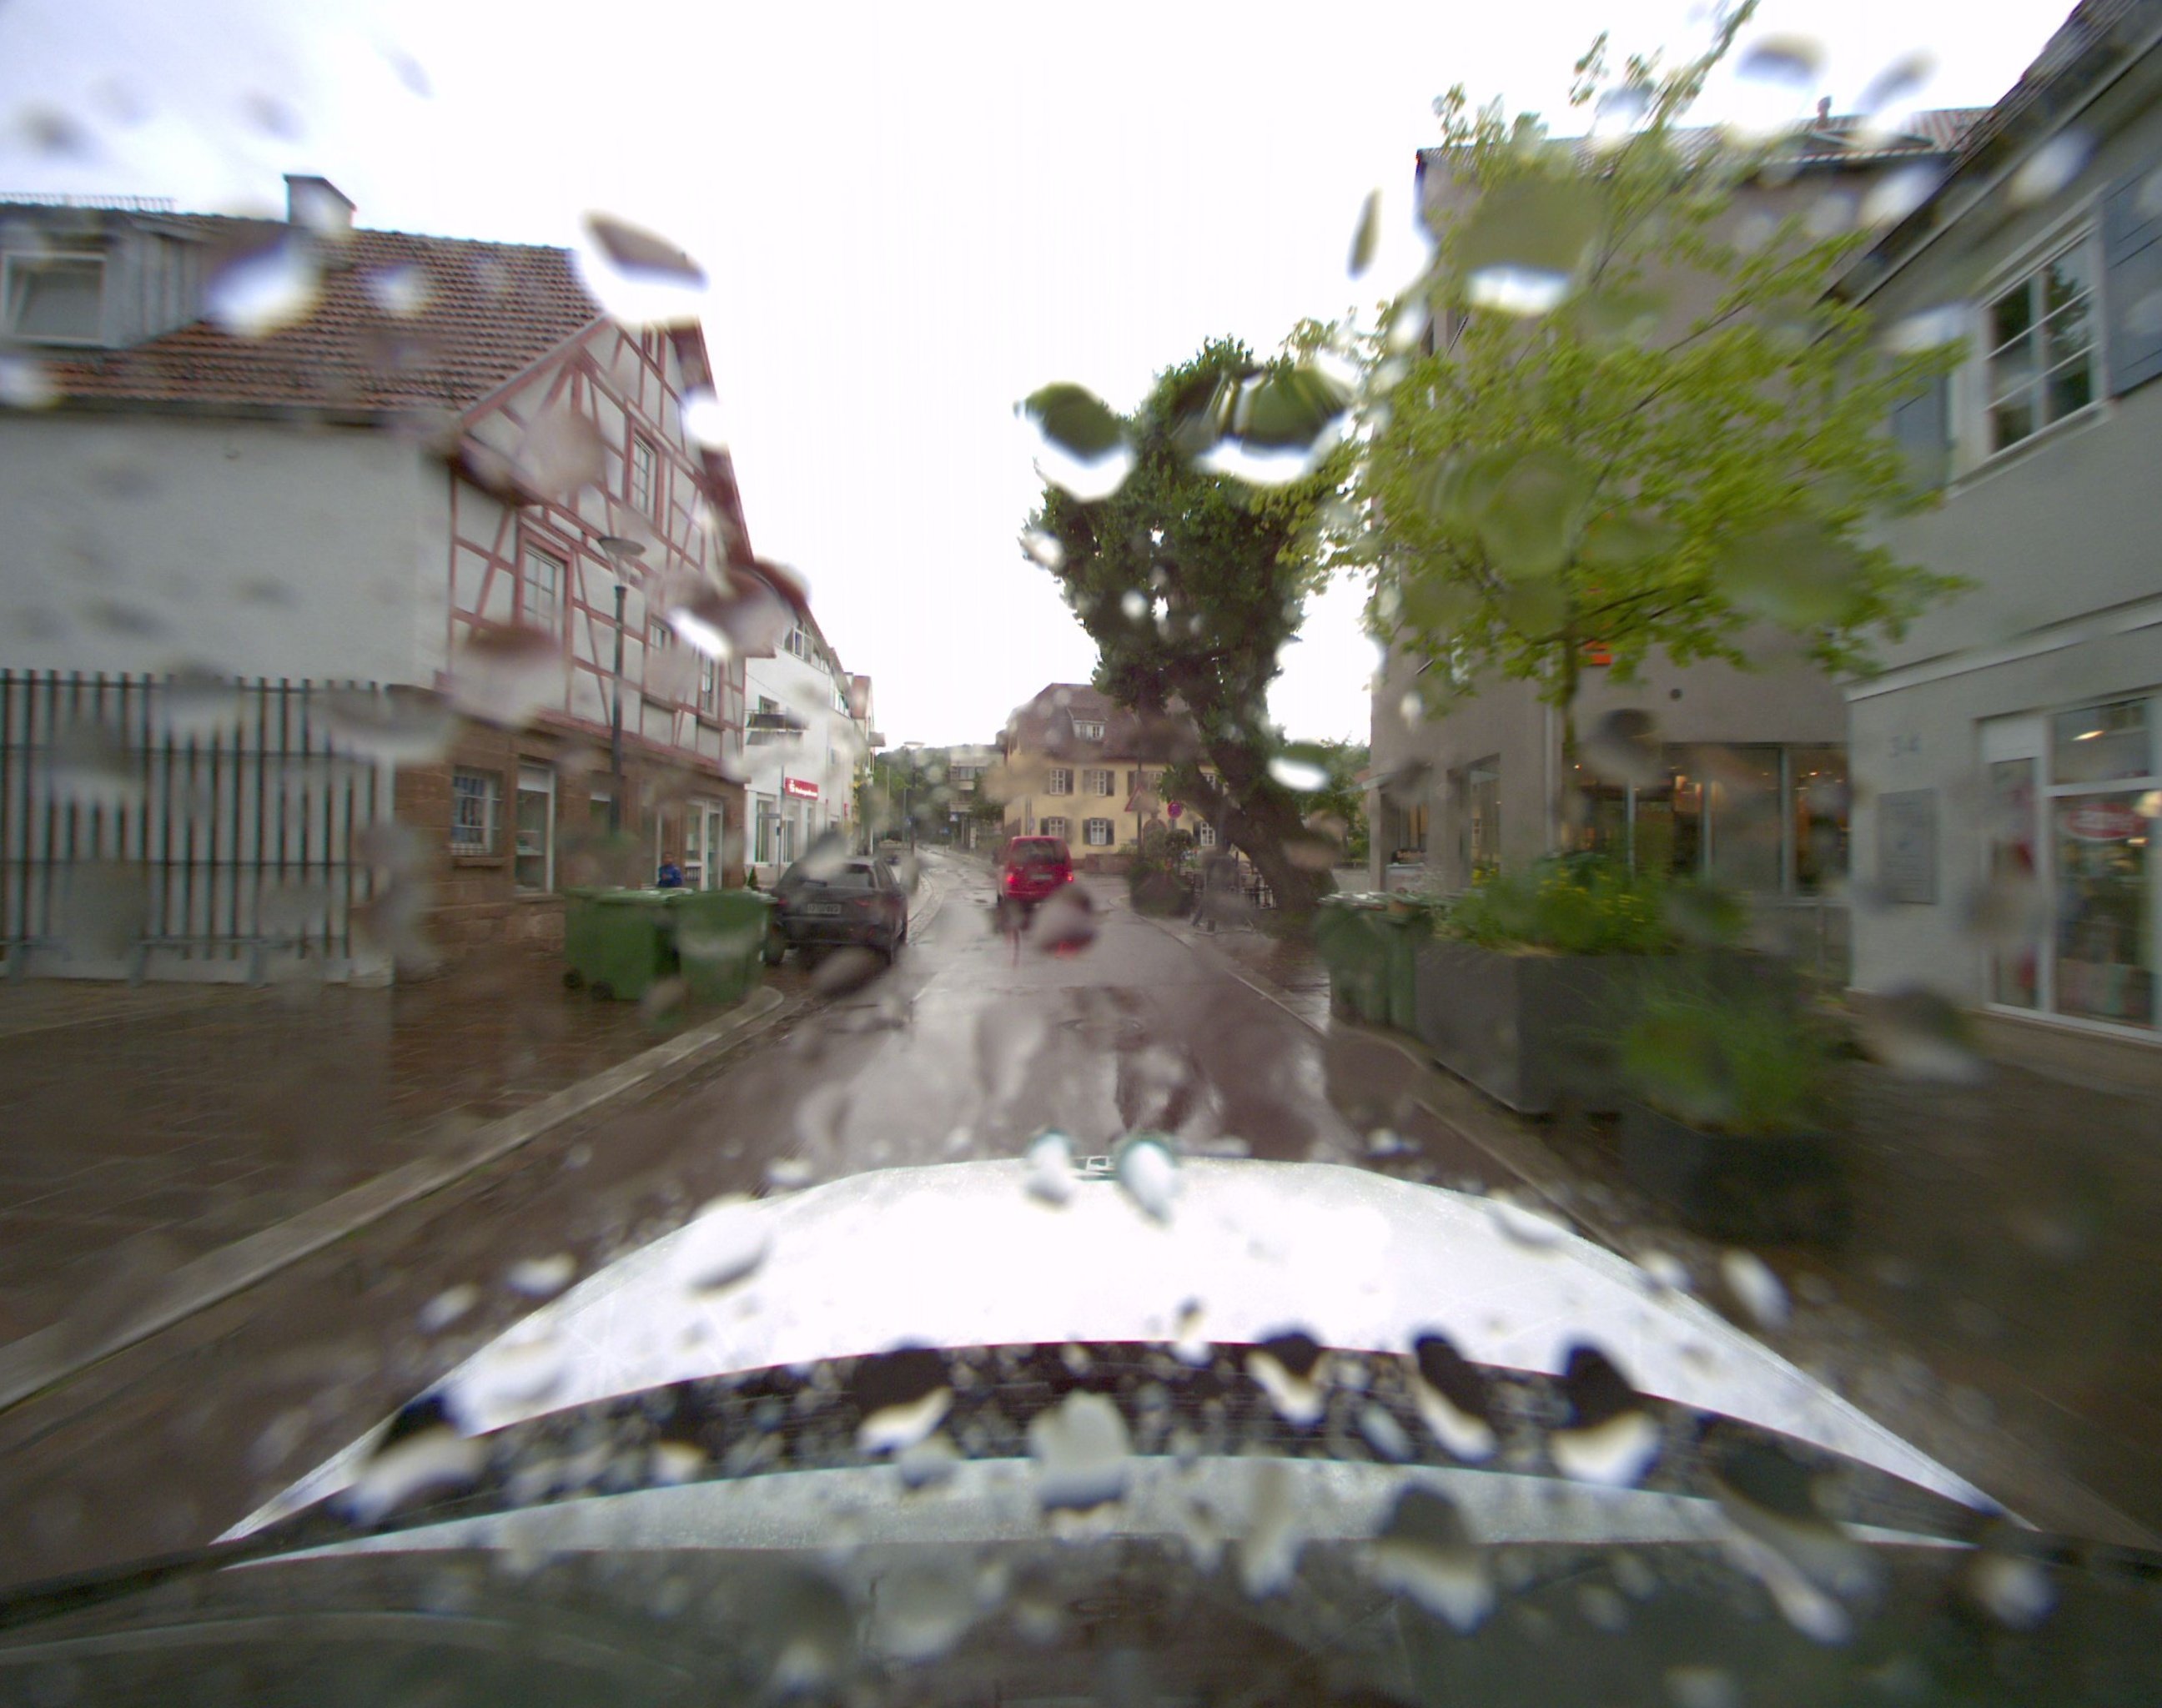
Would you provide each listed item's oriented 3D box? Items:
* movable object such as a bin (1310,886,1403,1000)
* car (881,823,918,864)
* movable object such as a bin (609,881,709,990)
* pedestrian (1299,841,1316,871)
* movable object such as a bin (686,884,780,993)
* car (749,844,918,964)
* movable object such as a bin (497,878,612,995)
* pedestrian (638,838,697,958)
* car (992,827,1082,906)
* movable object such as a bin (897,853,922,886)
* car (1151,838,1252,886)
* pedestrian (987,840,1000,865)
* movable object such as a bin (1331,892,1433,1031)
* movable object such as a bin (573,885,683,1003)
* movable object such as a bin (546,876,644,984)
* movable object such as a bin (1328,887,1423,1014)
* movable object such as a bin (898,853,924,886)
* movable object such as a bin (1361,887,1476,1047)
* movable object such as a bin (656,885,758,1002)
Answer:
[{"bbox_3d":[2.765,0.874,8.232,0.718,1.073,0.649,1,-2,2],"label":"movable object such as a bin"},{"bbox_3d":[-12.863,-0.659,57.440,2.302,2.602,6.924,2,-1,-14],"label":"car"},{"bbox_3d":[-4.524,0.859,8.768,0.724,1.110,0.596,1,-2,-2],"label":"movable object such as a bin"},{"bbox_3d":[14.365,0.136,51.647,0.894,1.842,0.767,1,-2,4],"label":"pedestrian"},{"bbox_3d":[-3.769,0.903,8.873,0.724,1.110,0.644,1,0,-2],"label":"movable object such as a bin"},{"bbox_3d":[-3.550,0.631,12.395,1.786,1.495,3.990,2,1,-8],"label":"car"},{"bbox_3d":[-5.263,0.805,8.177,0.724,1.110,0.596,1,-2,-2],"label":"movable object such as a bin"},{"bbox_3d":[-6.079,0.642,11.997,0.517,1.711,0.578,1,-2,-2],"label":"pedestrian"},{"bbox_3d":[-1.246,0.260,21.189,1.894,1.811,3.988,2,1,-9],"label":"car"},{"bbox_3d":[-5.885,0.529,27.941,0.713,1.106,0.599,2,-2,-5],"label":"movable object such as a bin"},{"bbox_3d":[4.876,0.352,32.737,4.022,1.799,1.975,3,-2,-44],"label":"car"},{"bbox_3d":[-6.635,-0.087,61.758,0.759,1.842,0.903,1,-2,8],"label":"pedestrian"},{"bbox_3d":[2.540,0.889,6.916,0.630,1.104,0.579,1,-2,-2],"label":"movable object such as a bin"},{"bbox_3d":[-4.504,0.874,8.141,0.724,1.110,0.596,1,-2,-2],"label":"movable object such as a bin"},{"bbox_3d":[-5.256,0.806,8.845,0.658,1.110,0.615,1,-2,-2],"label":"movable object such as a bin"},{"bbox_3d":[2.732,0.876,7.602,0.674,1.103,0.580,1,-2,1],"label":"movable object such as a bin"},{"bbox_3d":[-5.976,0.542,28.635,0.793,1.106,0.721,2,-2,-5],"label":"movable object such as a bin"},{"bbox_3d":[2.595,0.848,6.303,0.630,1.150,0.579,1,-2,-2],"label":"movable object such as a bin"},{"bbox_3d":[-3.761,0.886,8.229,0.724,1.110,0.596,1,-2,-2],"label":"movable object such as a bin"}]
